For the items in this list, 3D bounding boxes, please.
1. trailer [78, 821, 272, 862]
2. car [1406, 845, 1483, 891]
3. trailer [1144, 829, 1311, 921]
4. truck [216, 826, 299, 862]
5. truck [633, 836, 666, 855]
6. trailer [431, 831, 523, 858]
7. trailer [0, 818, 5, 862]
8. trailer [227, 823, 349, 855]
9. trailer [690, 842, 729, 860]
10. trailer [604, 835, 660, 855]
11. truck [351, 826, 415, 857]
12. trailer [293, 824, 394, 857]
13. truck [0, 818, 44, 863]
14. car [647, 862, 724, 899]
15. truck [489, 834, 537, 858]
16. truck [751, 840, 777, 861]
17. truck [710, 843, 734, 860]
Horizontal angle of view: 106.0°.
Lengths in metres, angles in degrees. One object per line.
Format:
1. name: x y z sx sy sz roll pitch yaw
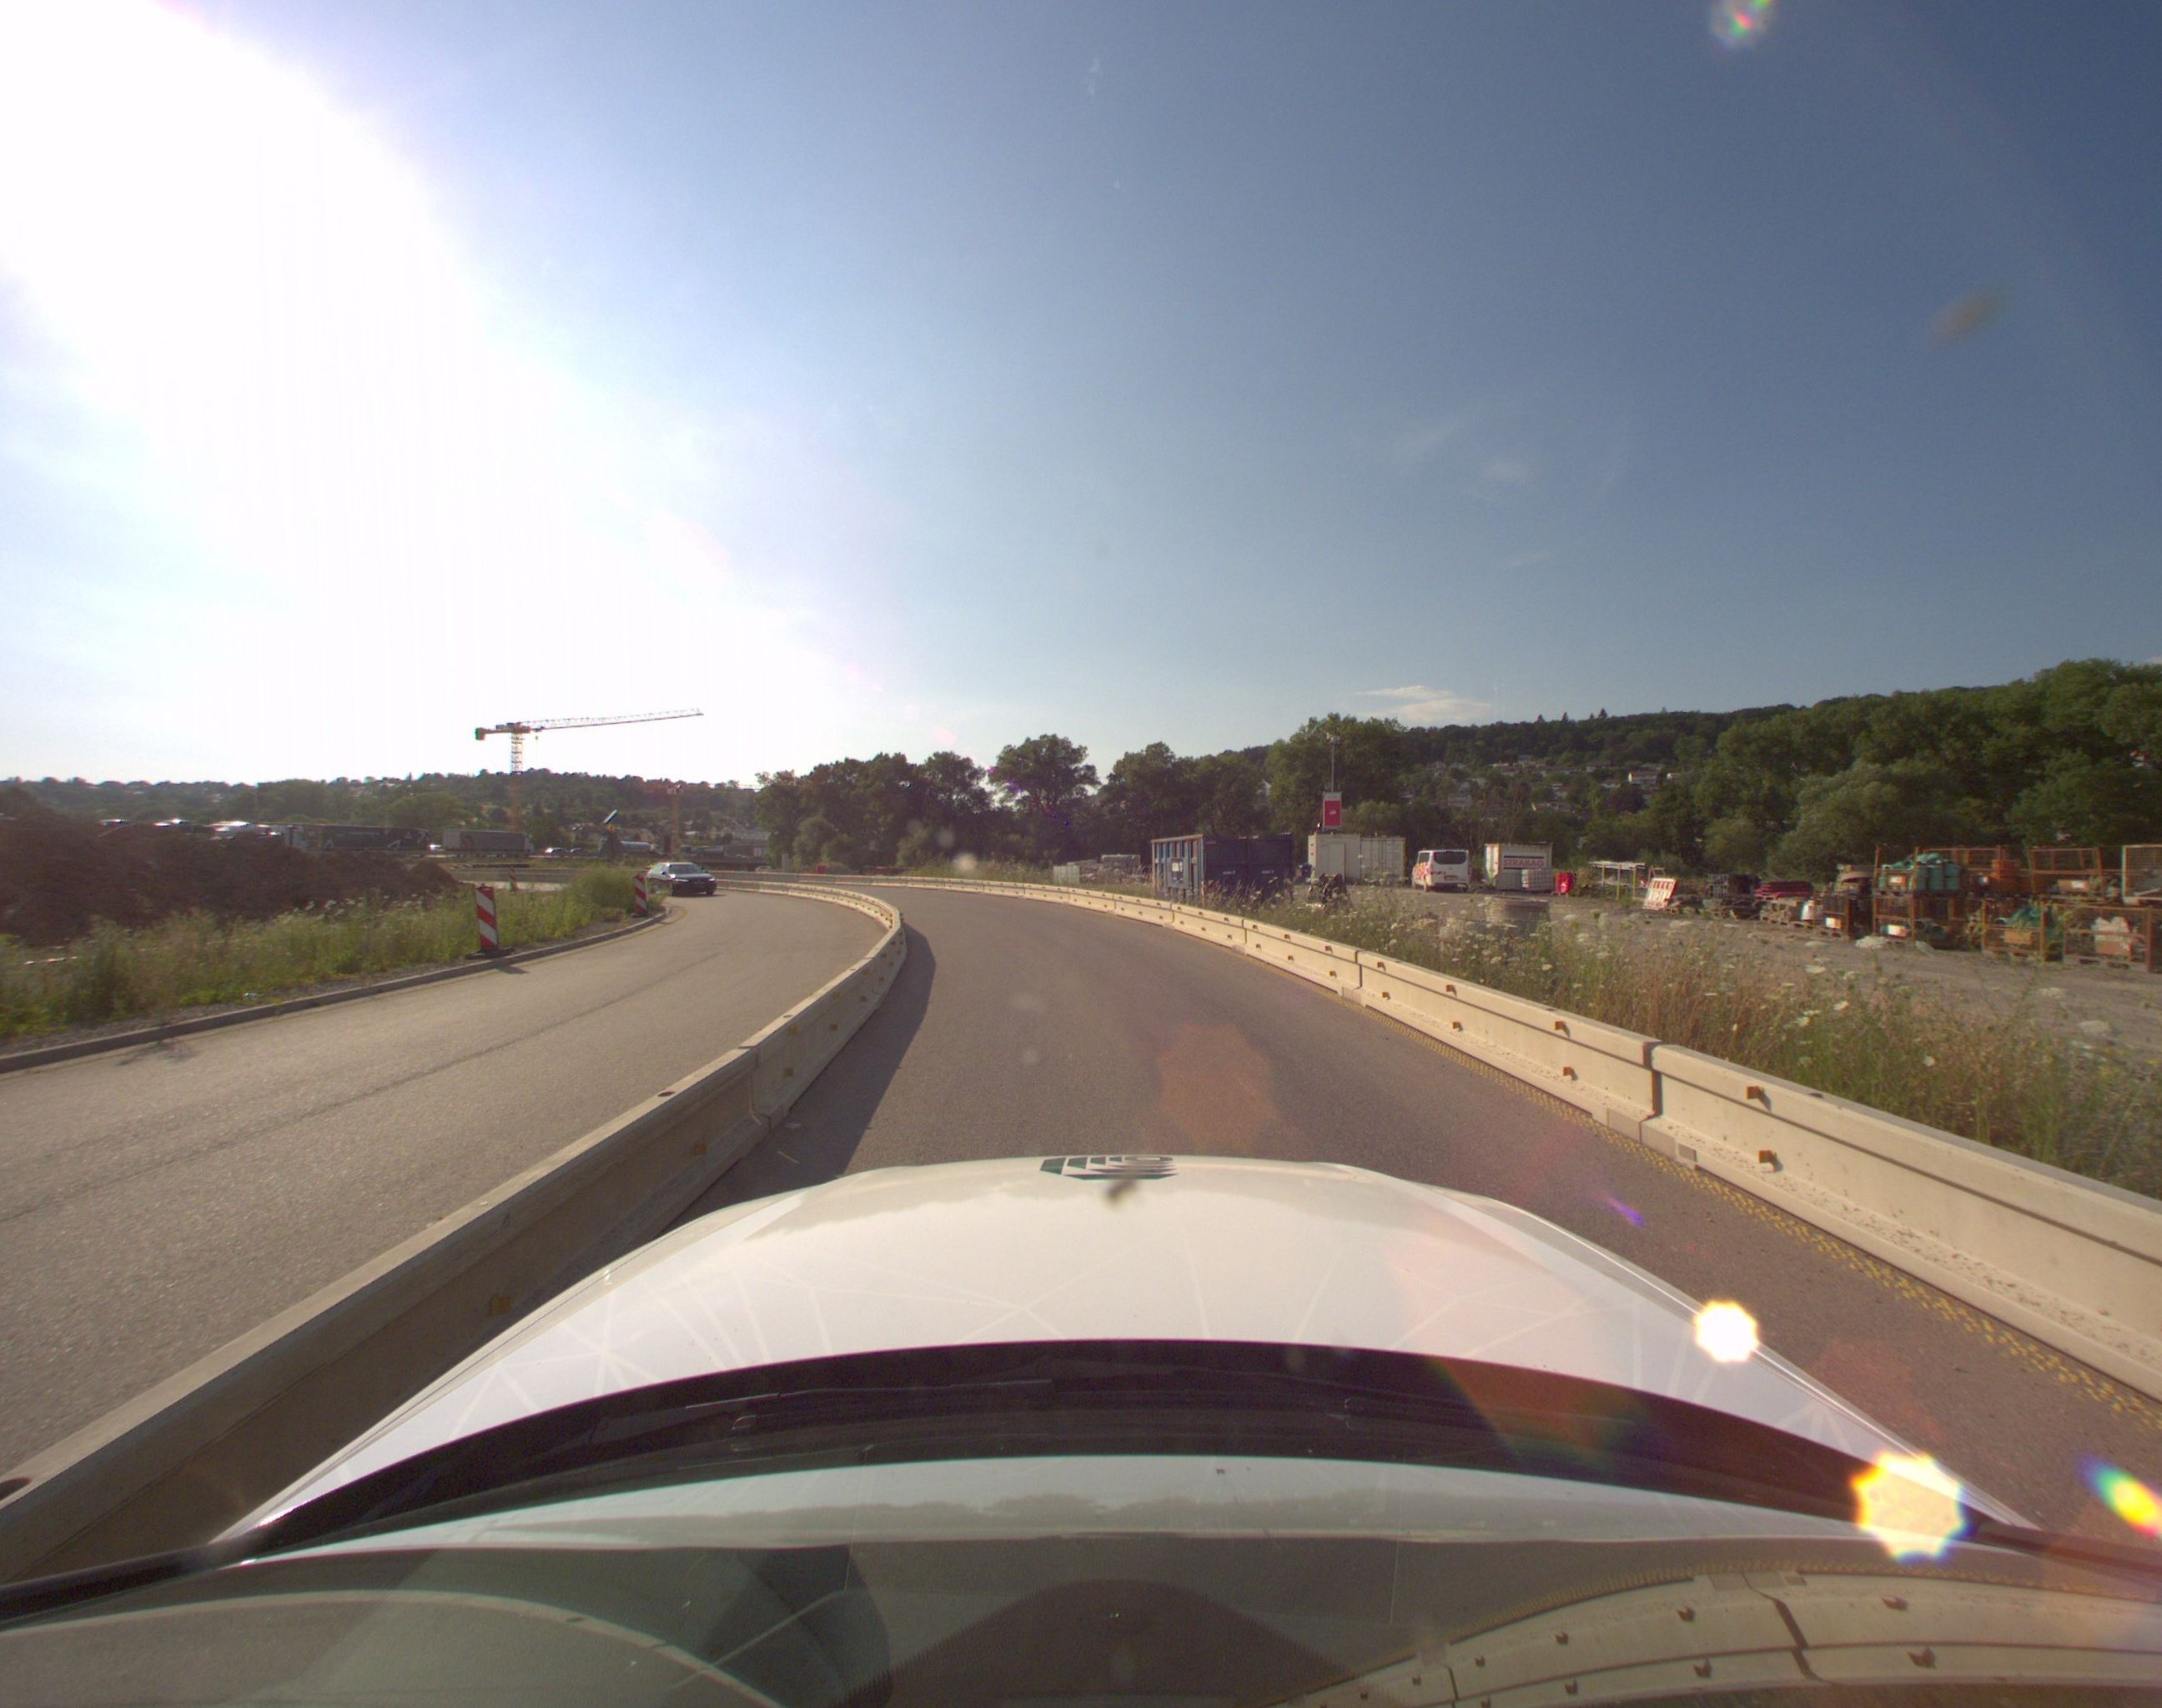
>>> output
1. trailer: -96.126 -1.167 87.237 2.847 3.996 15.746 1 0 1
2. car: 17.618 0.656 39.770 2.462 2.079 5.338 -1 -1 13
3. trailer: 4.176 0.595 25.156 3.002 2.414 7.208 1 -1 -8
4. truck: -96.020 -1.144 95.114 2.839 3.997 6.624 1 -1 1
5. truck: -94.521 -1.742 178.486 3.378 3.997 6.624 1 -1 1
6. trailer: -95.493 -1.355 129.269 3.373 3.996 14.745 1 0 1
7. trailer: -96.398 -1.324 65.082 2.472 3.878 13.630 1 -1 0
8. trailer: -105.856 -1.875 109.224 2.847 3.996 13.476 1 0 1
9. trailer: -93.574 -0.778 205.380 3.093 4.314 14.252 1 0 1
10. trailer: -94.609 -1.778 172.059 3.373 3.996 14.745 1 0 1
11. truck: -95.665 -1.671 111.803 2.874 3.997 6.627 1 -1 2
12. trailer: -95.825 -1.675 106.185 2.947 4.092 10.797 0 -1 2
13. truck: -96.322 -1.215 71.554 2.472 3.878 6.011 1 -1 0
14. car: -18.023 1.194 37.046 4.458 1.519 1.726 -2 -1 44
15. truck: -95.440 -1.302 136.933 3.332 3.997 6.624 1 -1 1
16. truck: -92.747 -0.889 238.325 3.152 5.871 10.679 0 -1 2
17. truck: -93.476 -0.714 212.277 3.087 4.285 6.624 1 -1 1
